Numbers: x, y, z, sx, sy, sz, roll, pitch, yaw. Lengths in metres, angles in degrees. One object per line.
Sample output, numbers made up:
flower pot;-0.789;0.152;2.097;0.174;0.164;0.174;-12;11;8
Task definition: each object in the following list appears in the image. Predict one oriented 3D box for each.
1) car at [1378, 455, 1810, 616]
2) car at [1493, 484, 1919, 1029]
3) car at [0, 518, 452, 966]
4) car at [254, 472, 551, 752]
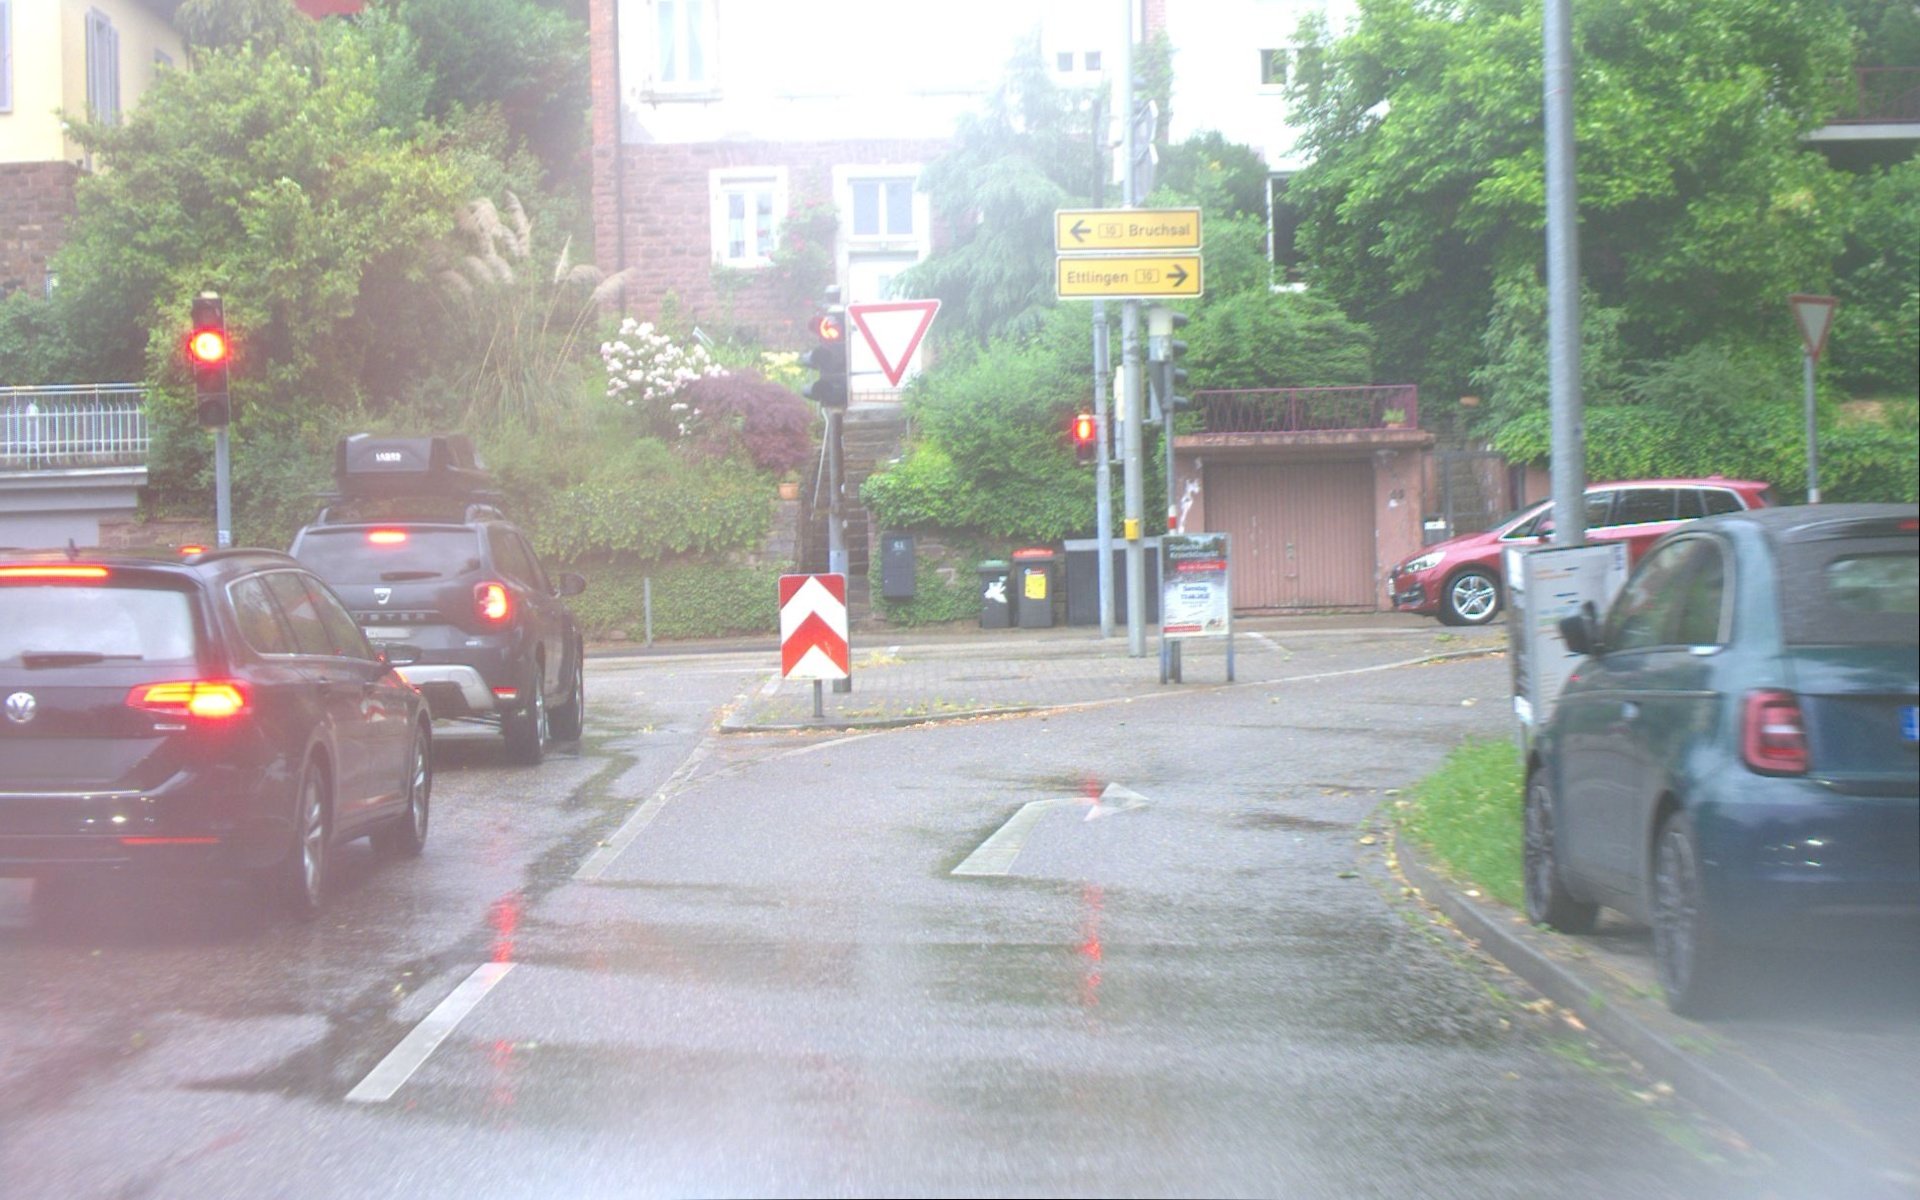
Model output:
car;7.182;-0.718;39.263;4.568;1.595;1.775;-3;0;2
car;2.917;0.414;11.251;1.749;1.486;3.600;1;1;0
car;-3.370;0.437;14.202;1.831;1.451;4.659;1;2;0
car;-3.690;-0.006;23.395;1.760;1.705;4.602;0;2;-6
